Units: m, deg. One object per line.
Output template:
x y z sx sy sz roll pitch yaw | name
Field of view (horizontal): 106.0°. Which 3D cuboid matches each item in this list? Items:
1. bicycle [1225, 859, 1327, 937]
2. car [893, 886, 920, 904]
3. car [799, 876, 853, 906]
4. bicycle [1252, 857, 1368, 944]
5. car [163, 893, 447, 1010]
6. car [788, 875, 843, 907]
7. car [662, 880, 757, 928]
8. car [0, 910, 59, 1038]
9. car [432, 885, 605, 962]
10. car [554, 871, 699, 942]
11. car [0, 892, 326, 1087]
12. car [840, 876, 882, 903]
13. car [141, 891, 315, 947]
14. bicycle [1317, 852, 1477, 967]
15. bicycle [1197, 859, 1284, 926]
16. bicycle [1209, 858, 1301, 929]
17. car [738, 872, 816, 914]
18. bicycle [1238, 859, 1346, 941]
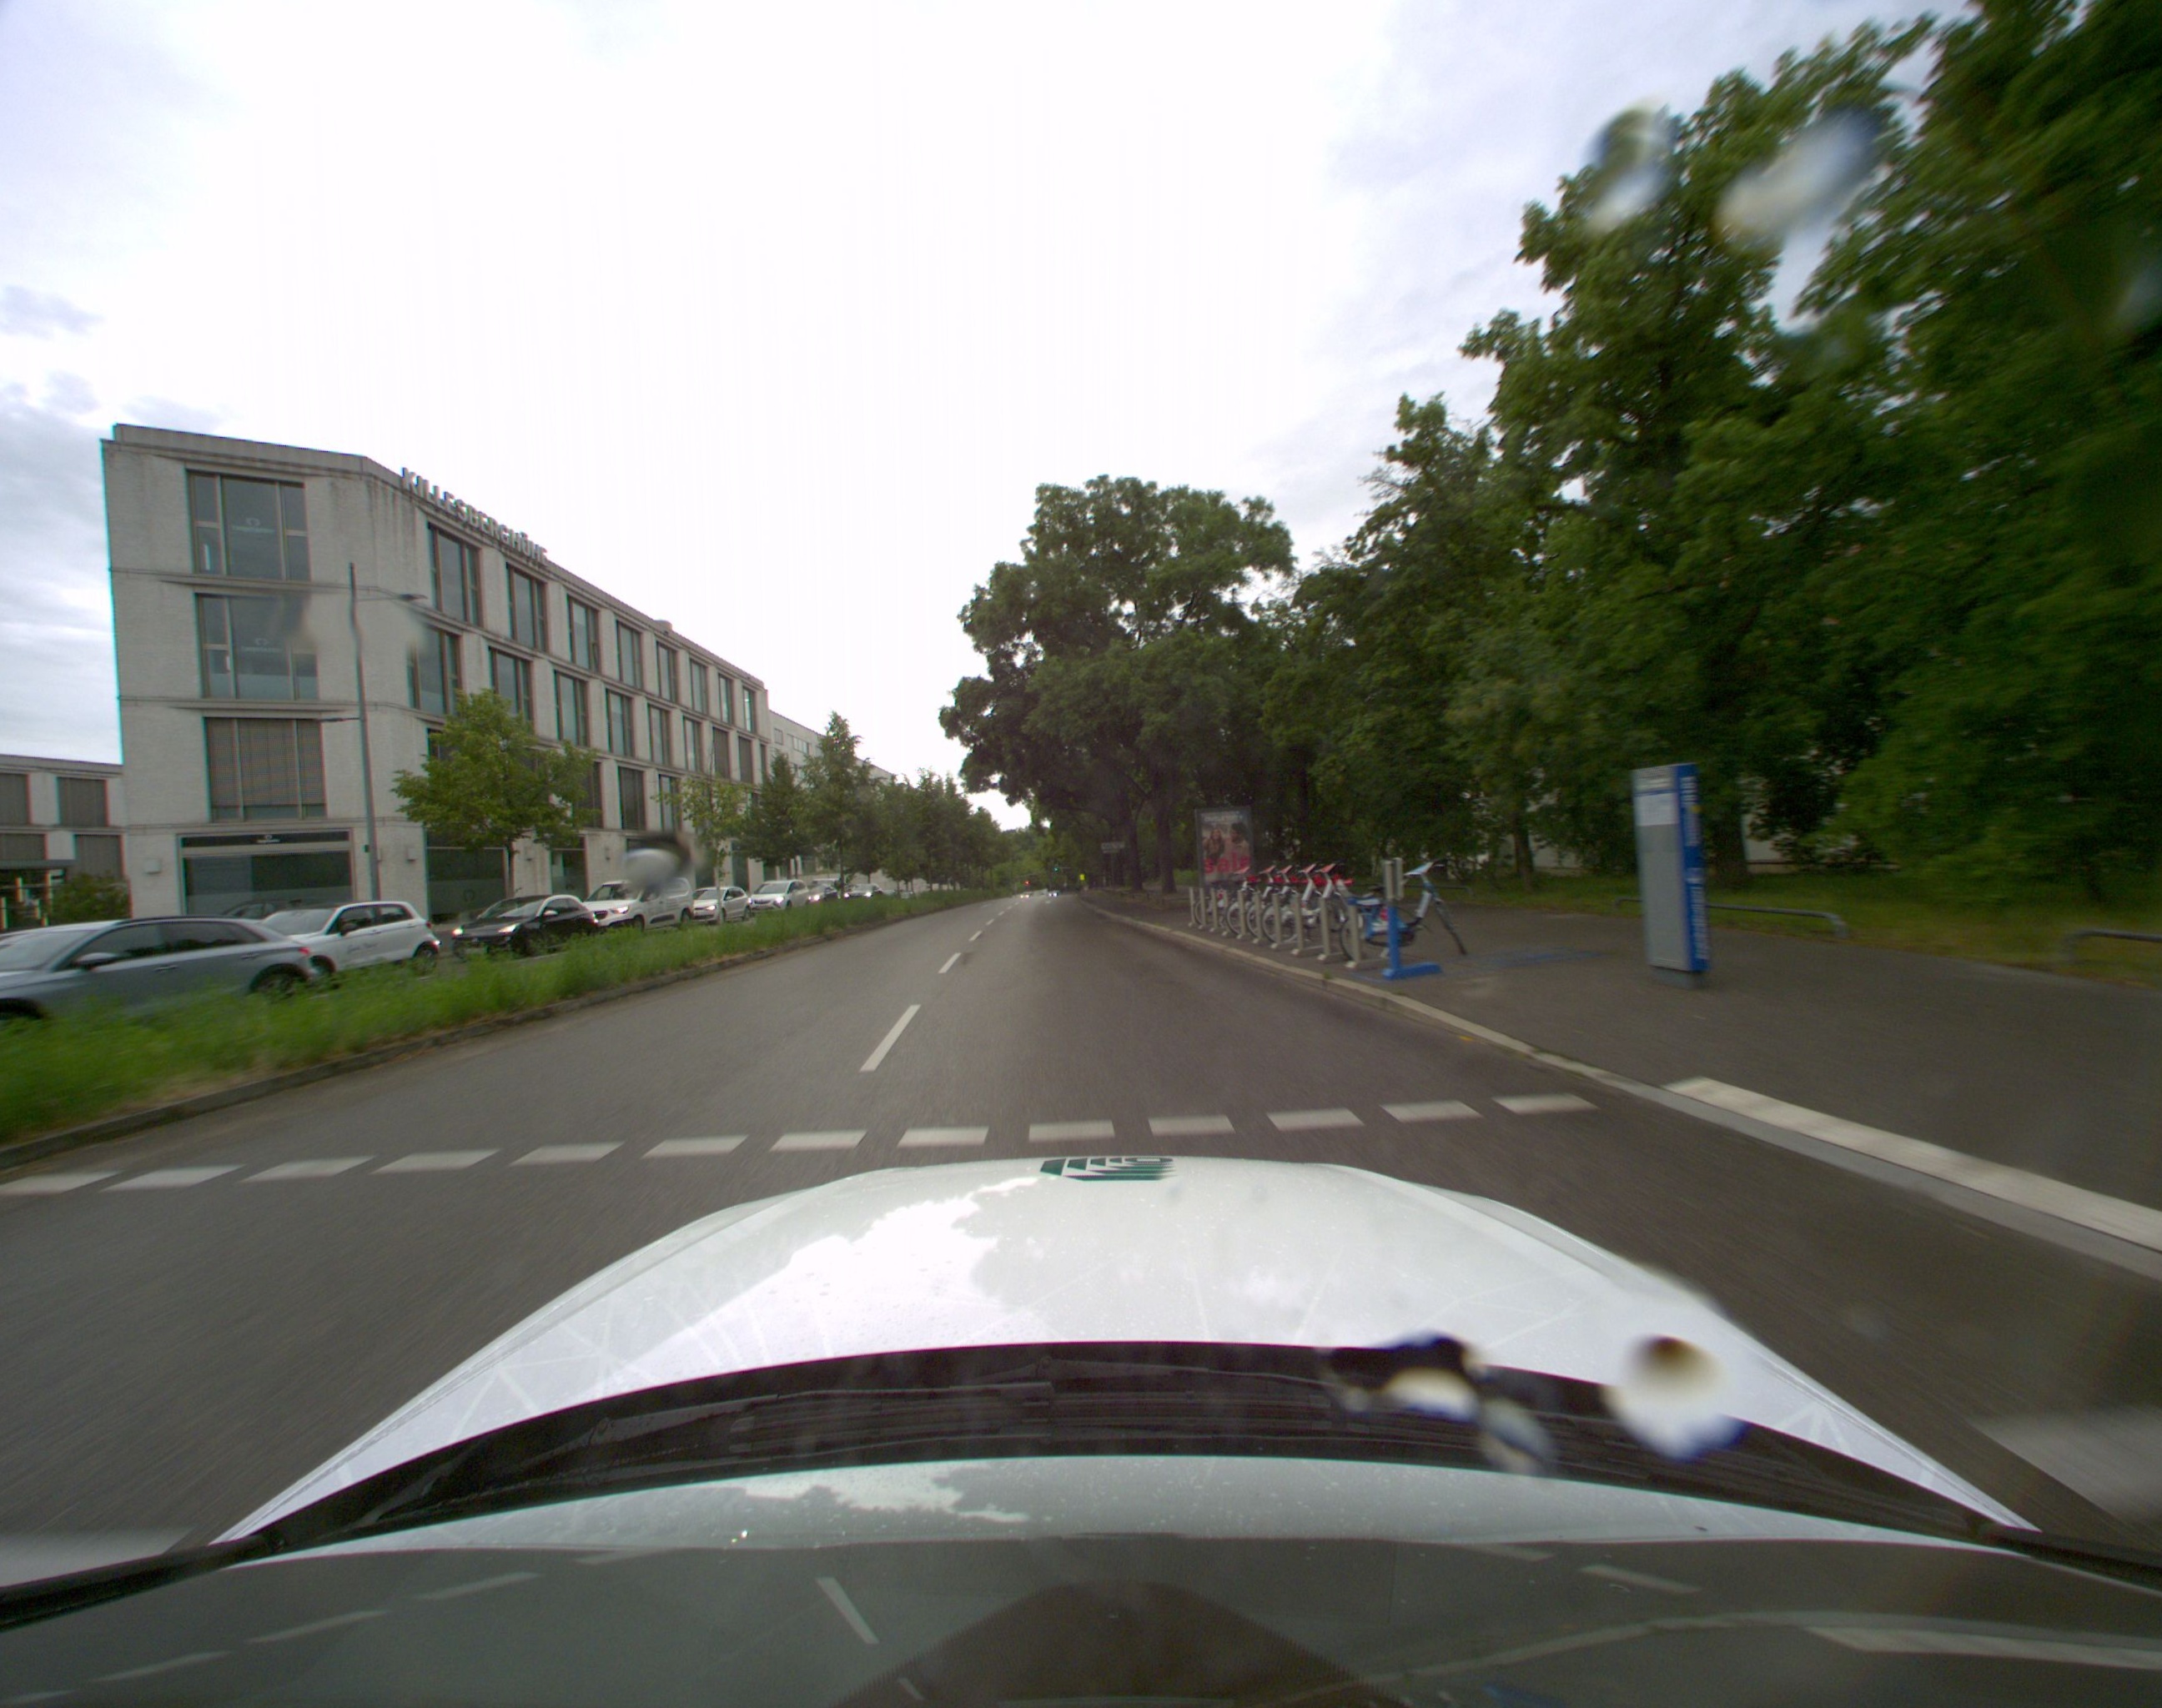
3.322 0.743 13.936 1.484 1.131 0.555 -6 -1 -8 | bicycle
-17.403 4.075 81.293 1.689 1.444 3.860 -3 0 1 | car
-17.419 2.510 55.824 2.117 1.816 5.255 -3 -2 -2 | car
3.455 0.690 12.331 1.484 1.131 0.555 -6 -1 -8 | bicycle
-14.082 1.674 15.119 1.646 1.576 3.700 -4 0 -1 | car
-14.472 1.969 44.561 1.636 1.410 3.995 -4 0 -1 | car
-14.338 1.894 31.685 1.738 1.467 4.059 -4 0 -1 | car
-14.032 1.562 8.390 1.821 1.519 4.060 -5 0 -2 | car
-14.008 1.673 20.564 1.710 1.460 3.748 -4 0 -1 | car
-14.164 1.562 25.759 1.838 1.802 4.771 -2 0 -1 | car
-10.825 1.356 8.595 1.844 1.575 4.161 -2 1 -2 | car
-14.661 2.356 54.474 1.690 1.581 4.014 -3 -1 -1 | car
-26.133 1.952 25.100 3.304 1.376 1.553 -3 0 -27 | car
3.721 0.638 9.642 1.595 1.131 0.555 -6 -1 -8 | bicycle
3.139 0.758 16.054 1.484 1.131 0.555 -6 -1 -8 | bicycle
3.241 0.725 15.229 1.484 1.131 0.555 -6 -1 -8 | bicycle
-14.294 1.783 38.605 1.824 1.600 4.673 -4 0 -1 | car
3.405 0.733 13.161 1.484 1.131 0.555 -6 -1 -8 | bicycle
